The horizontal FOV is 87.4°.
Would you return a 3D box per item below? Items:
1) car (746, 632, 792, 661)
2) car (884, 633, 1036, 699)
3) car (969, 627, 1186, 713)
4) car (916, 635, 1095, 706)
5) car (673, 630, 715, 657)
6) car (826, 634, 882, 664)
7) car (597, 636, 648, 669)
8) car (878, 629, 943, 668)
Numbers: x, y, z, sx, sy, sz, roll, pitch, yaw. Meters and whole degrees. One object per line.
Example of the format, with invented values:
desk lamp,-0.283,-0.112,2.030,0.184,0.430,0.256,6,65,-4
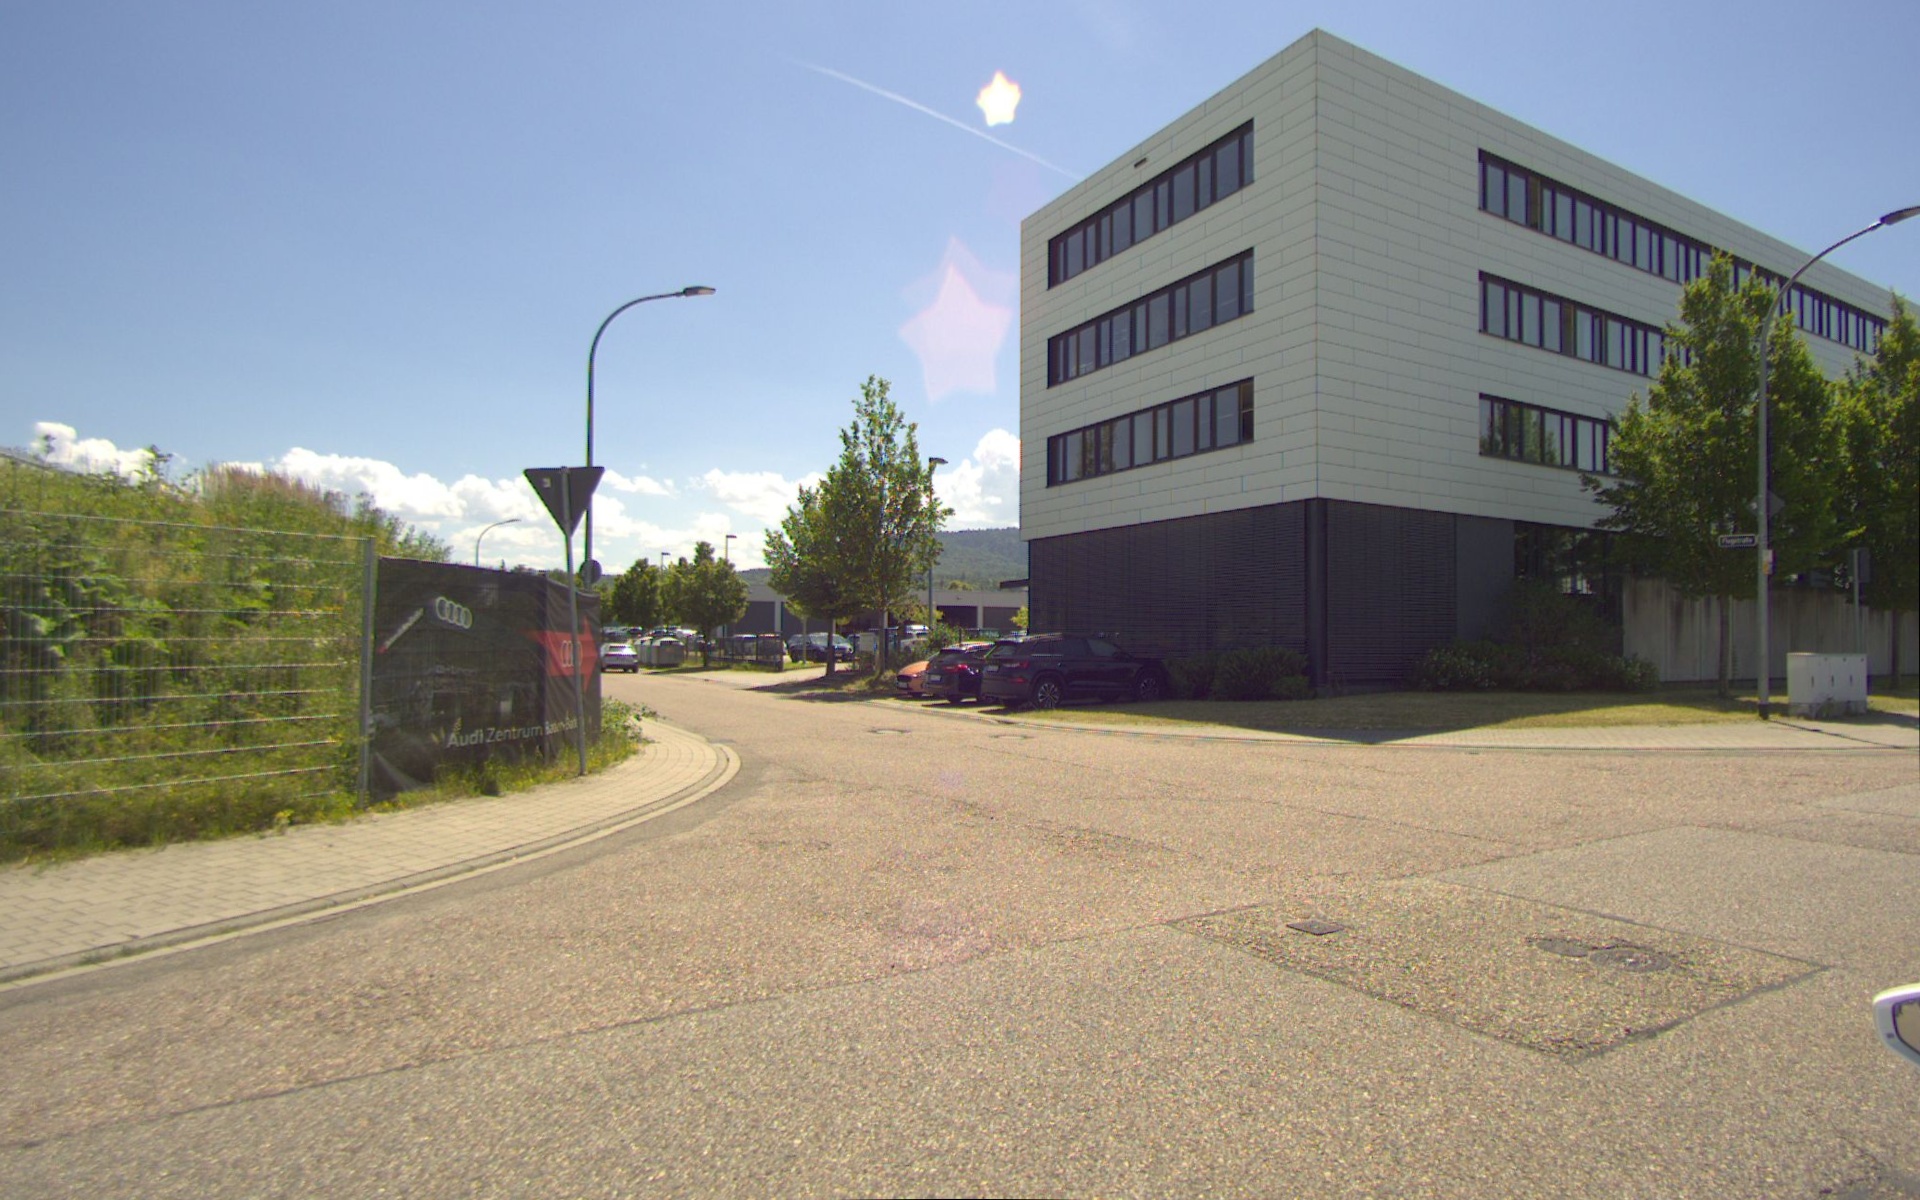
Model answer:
car,-12.782,3.089,67.188,1.844,1.658,3.805,2,0,-30
car,0.009,1.779,28.017,3.884,1.543,1.673,-2,0,-28
car,2.766,1.545,23.343,4.841,1.614,1.798,-2,0,-28
car,1.172,1.732,25.495,4.201,1.466,1.798,-2,0,-28
car,-18.322,2.982,69.101,1.844,1.658,3.805,2,0,-30
car,-6.179,2.862,58.391,1.844,1.658,3.806,2,-3,-30
car,-16.935,2.599,50.314,1.678,1.581,3.806,2,-2,-30
car,-2.678,2.569,53.780,1.844,1.886,3.967,2,0,-30
